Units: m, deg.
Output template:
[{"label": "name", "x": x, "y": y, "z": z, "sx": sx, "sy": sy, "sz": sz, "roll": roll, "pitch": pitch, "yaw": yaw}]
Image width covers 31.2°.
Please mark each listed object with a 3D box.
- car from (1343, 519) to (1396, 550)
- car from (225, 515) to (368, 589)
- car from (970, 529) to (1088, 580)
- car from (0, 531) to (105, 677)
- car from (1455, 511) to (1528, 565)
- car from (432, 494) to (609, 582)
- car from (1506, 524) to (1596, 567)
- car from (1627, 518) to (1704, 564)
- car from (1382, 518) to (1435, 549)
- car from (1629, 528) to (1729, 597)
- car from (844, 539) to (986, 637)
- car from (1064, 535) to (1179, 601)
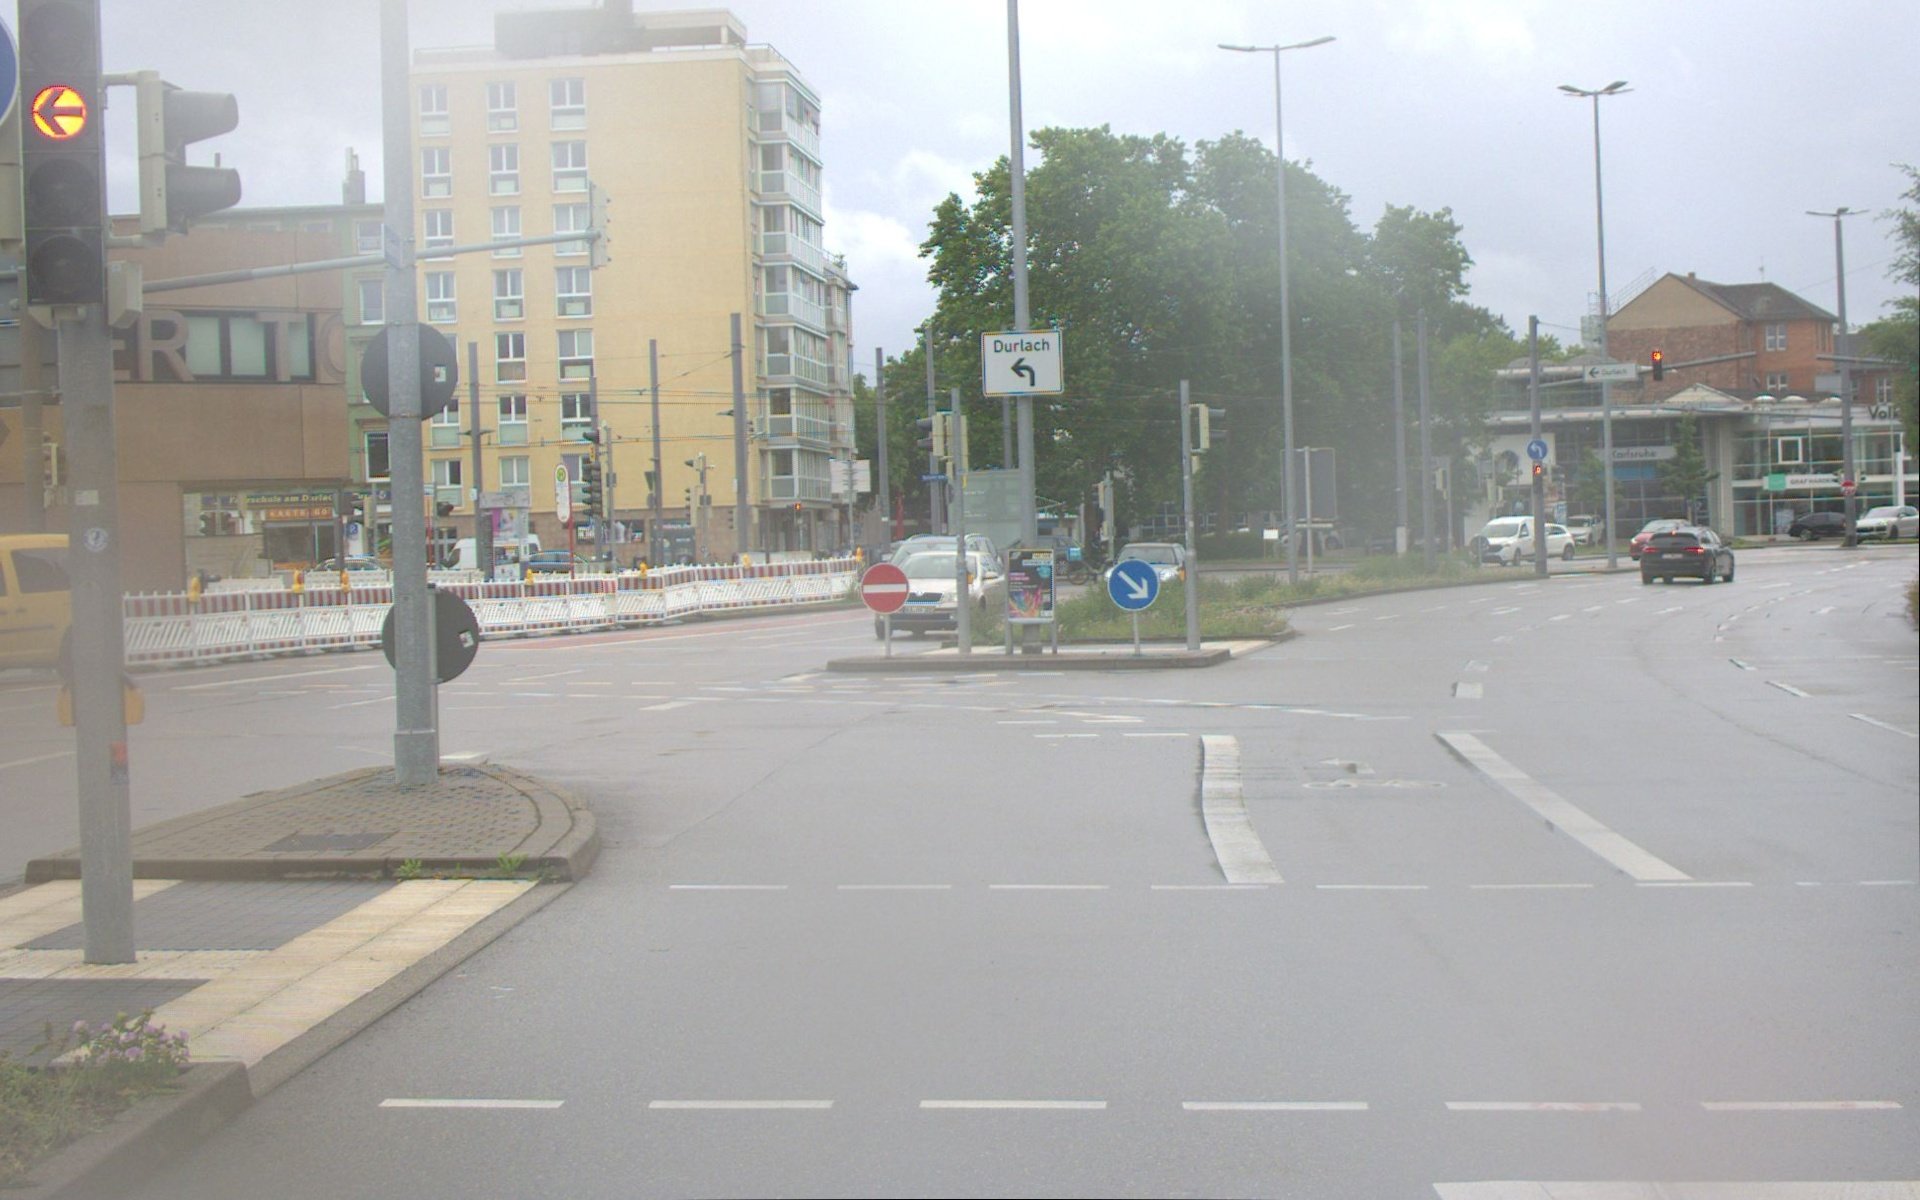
[{"label": "car", "x": 22.754, "y": -3.656, "z": 190.940, "sx": 1.792, "sy": 1.637, "sz": 4.154, "roll": -1, "pitch": 1, "yaw": 23}, {"label": "car", "x": -27.437, "y": -1.996, "z": 142.310, "sx": 5.351, "sy": 2.877, "sz": 2.339, "roll": -2, "pitch": 1, "yaw": 2}, {"label": "car", "x": 2.658, "y": -1.770, "z": 132.675, "sx": 4.145, "sy": 1.852, "sz": 1.796, "roll": -2, "pitch": 1, "yaw": -24}, {"label": "car", "x": -12.192, "y": 0.081, "z": 40.737, "sx": 1.708, "sy": 1.700, "sz": 4.147, "roll": -1, "pitch": 1, "yaw": 26}, {"label": "car", "x": 19.210, "y": -2.252, "z": 124.104, "sx": 1.792, "sy": 1.851, "sz": 4.155, "roll": -1, "pitch": 1, "yaw": 20}, {"label": "car", "x": -18.068, "y": -2.556, "z": 141.656, "sx": 6.742, "sy": 3.368, "sz": 2.809, "roll": -2, "pitch": 1, "yaw": 2}, {"label": "car", "x": 24.176, "y": -2.243, "z": 140.540, "sx": 1.794, "sy": 1.637, "sz": 4.387, "roll": -1, "pitch": 1, "yaw": 38}, {"label": "car", "x": 26.413, "y": -2.215, "z": 128.654, "sx": 1.792, "sy": 1.637, "sz": 4.041, "roll": -1, "pitch": 1, "yaw": 27}, {"label": "car", "x": 24.829, "y": -3.698, "z": 190.109, "sx": 1.792, "sy": 1.637, "sz": 4.154, "roll": -1, "pitch": 1, "yaw": 23}, {"label": "car", "x": 18.270, "y": -0.966, "z": 87.258, "sx": 1.792, "sy": 1.637, "sz": 4.155, "roll": -1, "pitch": 1, "yaw": 21}, {"label": "car", "x": -0.713, "y": -0.232, "z": 57.151, "sx": 1.694, "sy": 1.410, "sz": 4.182, "roll": -2, "pitch": 2, "yaw": 8}, {"label": "car", "x": 3.608, "y": -0.722, "z": 76.228, "sx": 1.773, "sy": 1.371, "sz": 4.118, "roll": -1, "pitch": 1, "yaw": 14}]
